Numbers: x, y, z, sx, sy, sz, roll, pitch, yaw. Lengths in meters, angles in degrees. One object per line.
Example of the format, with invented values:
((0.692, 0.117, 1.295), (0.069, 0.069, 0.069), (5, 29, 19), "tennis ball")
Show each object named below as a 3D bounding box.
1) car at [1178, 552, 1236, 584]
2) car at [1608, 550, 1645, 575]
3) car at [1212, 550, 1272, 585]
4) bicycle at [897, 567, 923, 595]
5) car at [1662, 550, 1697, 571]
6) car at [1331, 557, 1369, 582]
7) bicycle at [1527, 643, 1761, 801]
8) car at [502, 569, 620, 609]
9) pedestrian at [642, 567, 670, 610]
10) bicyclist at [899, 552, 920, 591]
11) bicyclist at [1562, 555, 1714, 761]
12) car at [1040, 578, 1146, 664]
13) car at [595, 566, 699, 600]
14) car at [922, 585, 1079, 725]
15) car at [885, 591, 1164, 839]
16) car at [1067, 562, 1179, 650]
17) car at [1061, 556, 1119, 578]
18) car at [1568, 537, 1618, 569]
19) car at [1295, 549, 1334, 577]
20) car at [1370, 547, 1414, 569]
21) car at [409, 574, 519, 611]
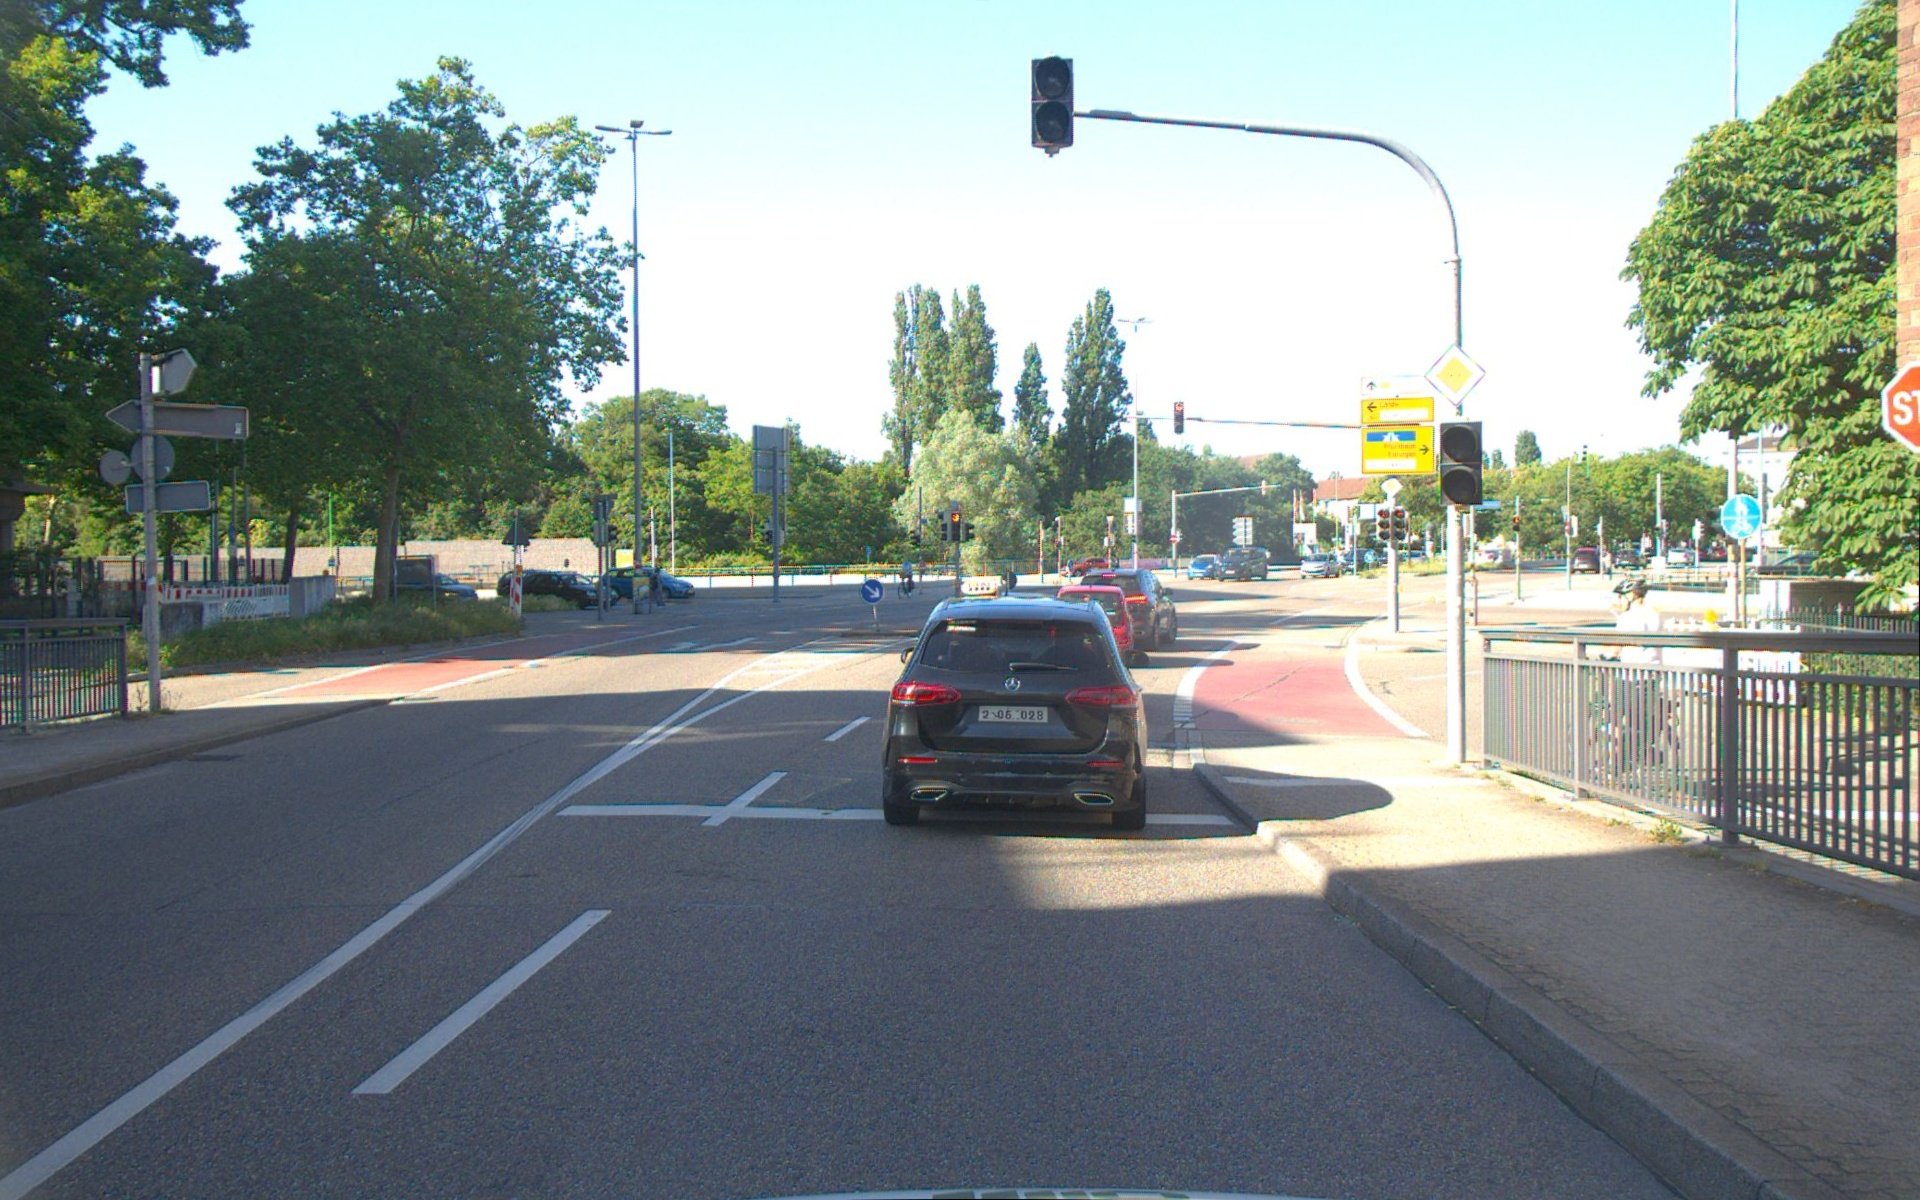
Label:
((15.246, -1.992, 101.737), (1.956, 1.897, 4.844), (0, 2, 29), "car")
((49.876, -2.808, 123.786), (1.957, 1.825, 3.991), (0, 1, 31), "car")
((16.459, -1.883, 96.332), (1.956, 1.969, 4.844), (0, 2, 29), "car")
((-2.268, -0.866, 75.287), (0.672, 1.223, 2.329), (0, 2, 12), "bicycle")
((60.659, -3.340, 139.416), (1.959, 1.668, 3.987), (0, 1, 34), "car")
((25.899, -2.026, 109.792), (1.689, 1.610, 4.002), (0, 2, 25), "car")
((5.911, 1.014, 14.497), (0.784, 1.130, 2.398), (0, 2, -8), "bicycle")
((-15.462, -0.420, 64.129), (4.352, 1.463, 1.823), (0, 2, 29), "car")
((-11.637, -0.443, 63.325), (0.672, 1.565, 1.366), (1, -3, 4), "pedestrian")
((-2.310, -1.290, 75.094), (0.672, 1.730, 1.199), (0, 2, 12), "bicyclist")
((5.946, 0.488, 14.558), (0.784, 1.735, 1.083), (0, 0, -9), "bicyclist")
((2.658, 0.359, 32.304), (1.781, 1.505, 4.004), (1, 1, 8), "car")
((-14.002, -0.770, 73.968), (4.348, 1.463, 1.825), (0, 1, 25), "car")
((0.453, 0.614, 20.974), (1.783, 1.515, 4.000), (-1, 1, 0), "car")
((0.372, 0.730, 12.229), (1.715, 1.520, 3.999), (0, -1, -1), "car")
((3.781, 0.075, 37.759), (1.829, 1.821, 4.418), (1, 2, 15), "car")
((9.848, -2.504, 124.967), (3.928, 1.575, 1.989), (-1, 2, -20), "car")
((40.770, -3.000, 106.457), (1.961, 1.825, 3.982), (0, -1, 37), "car")
((21.582, -2.258, 100.647), (1.782, 1.610, 4.105), (0, 1, 20), "car")
((30.944, -2.994, 118.487), (1.958, 1.478, 3.990), (1, 1, 32), "car")
((-20.426, -0.295, 68.116), (4.352, 1.463, 1.823), (0, 2, 29), "car")
